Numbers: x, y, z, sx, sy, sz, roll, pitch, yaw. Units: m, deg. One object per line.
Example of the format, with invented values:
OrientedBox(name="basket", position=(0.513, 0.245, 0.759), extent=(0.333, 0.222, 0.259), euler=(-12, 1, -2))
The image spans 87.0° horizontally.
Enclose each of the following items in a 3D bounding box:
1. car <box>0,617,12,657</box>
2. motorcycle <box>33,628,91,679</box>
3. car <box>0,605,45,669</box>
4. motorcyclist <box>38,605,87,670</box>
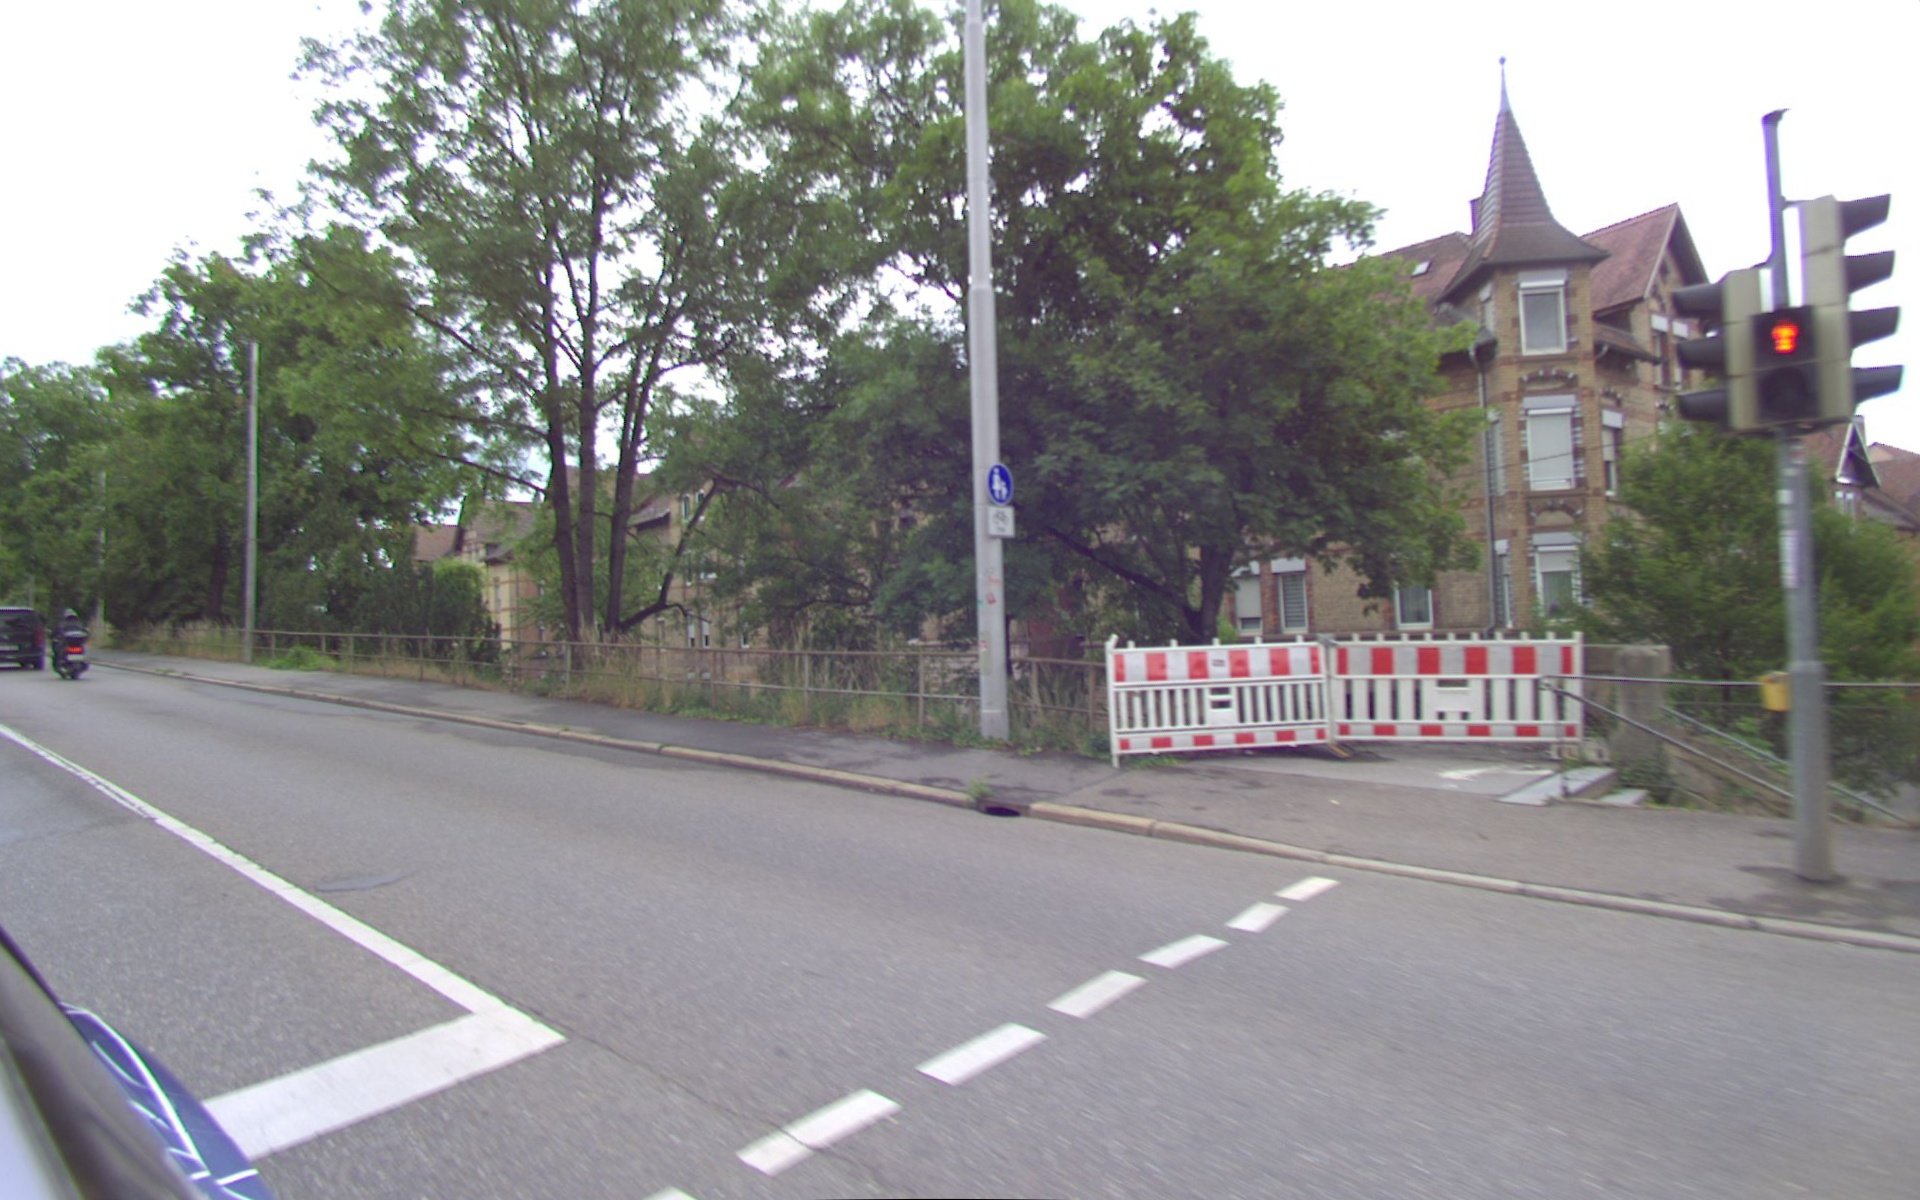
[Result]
OrientedBox(name="car", position=(-37.388, 1.372, 38.299), extent=(4.427, 1.470, 1.765), euler=(-1, -2, 41))
OrientedBox(name="motorcycle", position=(-21.590, 1.258, 24.326), extent=(2.056, 1.154, 0.776), euler=(-1, -2, 41))
OrientedBox(name="car", position=(-28.091, 1.042, 29.299), extent=(4.425, 1.759, 1.765), euler=(-1, -2, 40))
OrientedBox(name="motorcyclist", position=(-21.589, 0.891, 24.338), extent=(0.668, 1.527, 0.777), euler=(-1, -2, 41))
